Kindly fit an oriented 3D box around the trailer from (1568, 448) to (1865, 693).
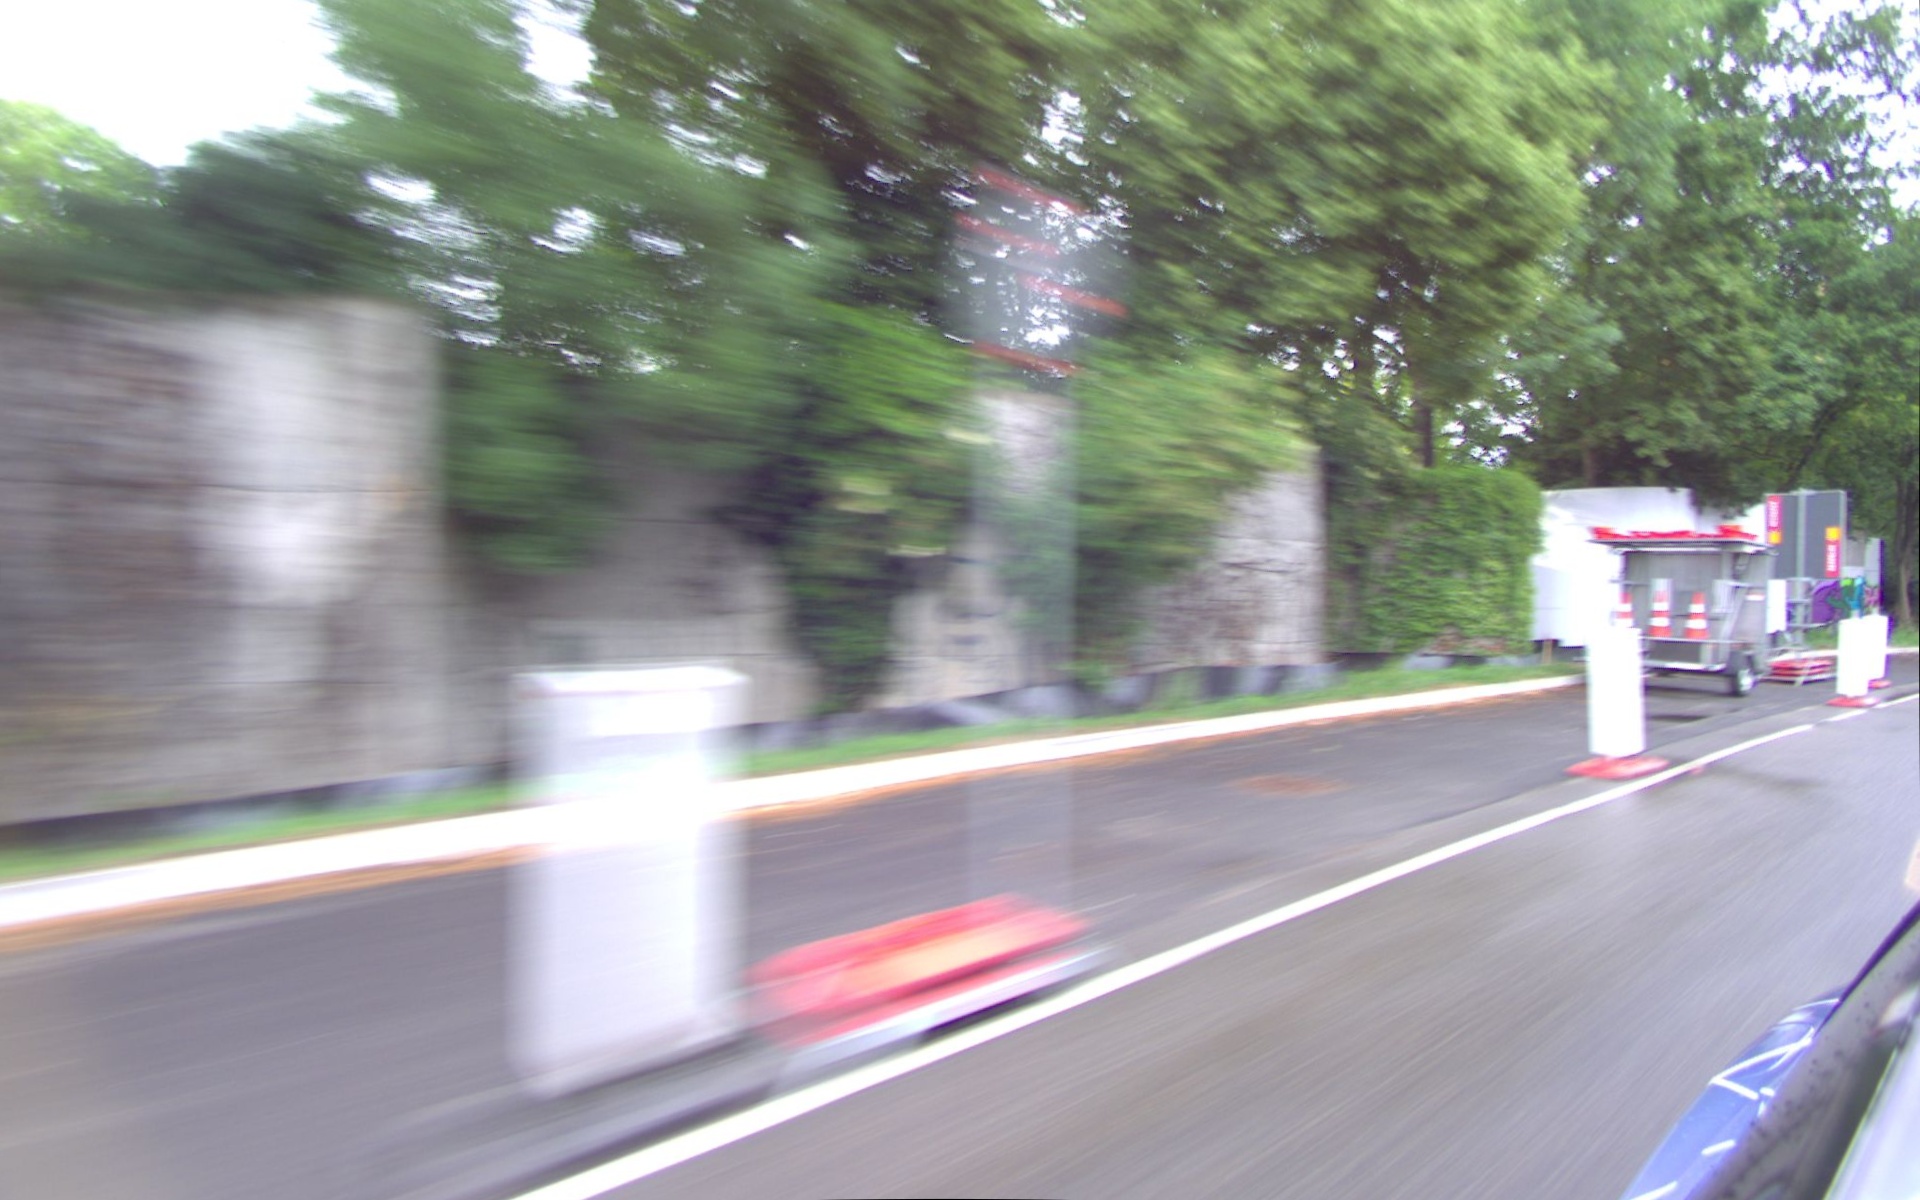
[{"bbox_3d":[13.262,-0.469,17.611,5.845,3.633,2.316,0,1,-35],"label":"trailer"}]
